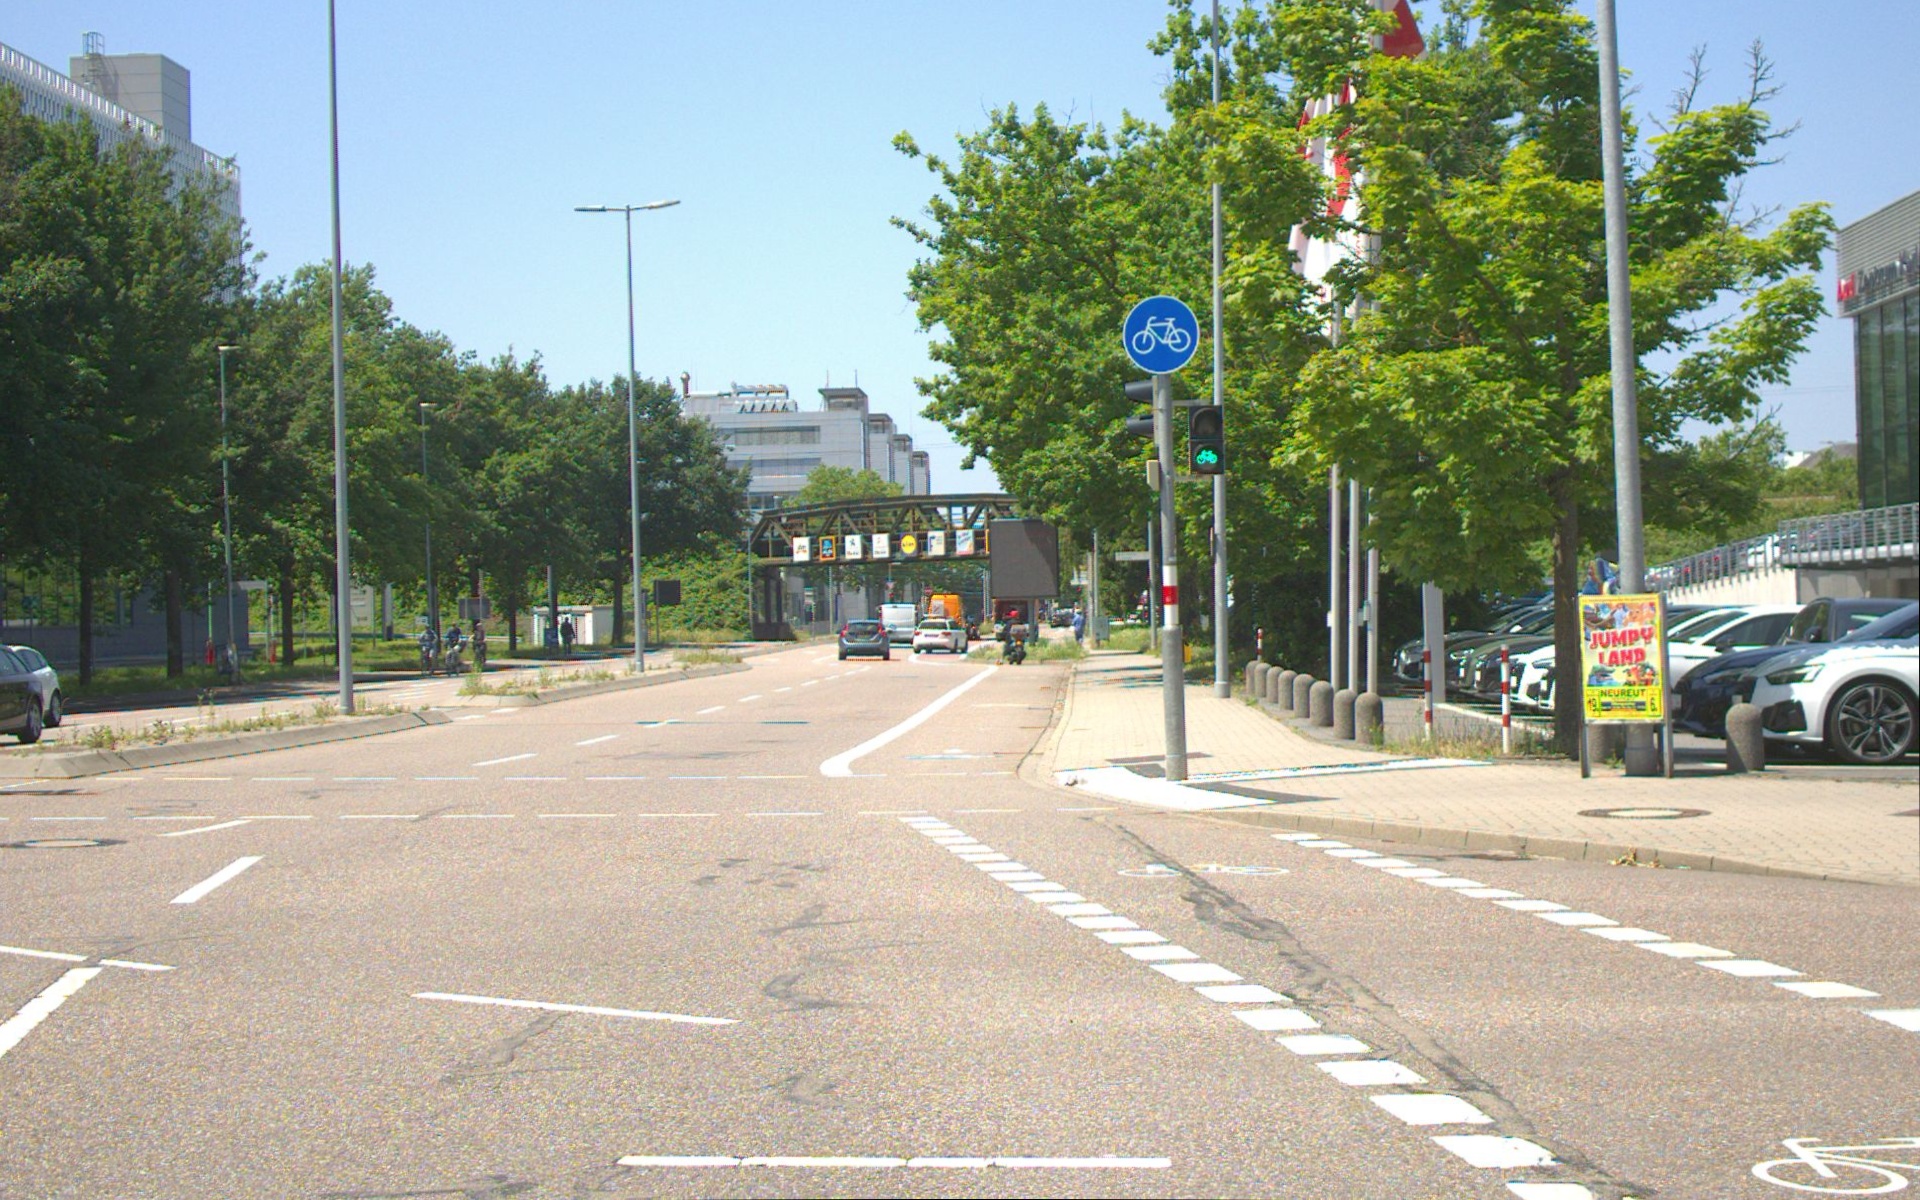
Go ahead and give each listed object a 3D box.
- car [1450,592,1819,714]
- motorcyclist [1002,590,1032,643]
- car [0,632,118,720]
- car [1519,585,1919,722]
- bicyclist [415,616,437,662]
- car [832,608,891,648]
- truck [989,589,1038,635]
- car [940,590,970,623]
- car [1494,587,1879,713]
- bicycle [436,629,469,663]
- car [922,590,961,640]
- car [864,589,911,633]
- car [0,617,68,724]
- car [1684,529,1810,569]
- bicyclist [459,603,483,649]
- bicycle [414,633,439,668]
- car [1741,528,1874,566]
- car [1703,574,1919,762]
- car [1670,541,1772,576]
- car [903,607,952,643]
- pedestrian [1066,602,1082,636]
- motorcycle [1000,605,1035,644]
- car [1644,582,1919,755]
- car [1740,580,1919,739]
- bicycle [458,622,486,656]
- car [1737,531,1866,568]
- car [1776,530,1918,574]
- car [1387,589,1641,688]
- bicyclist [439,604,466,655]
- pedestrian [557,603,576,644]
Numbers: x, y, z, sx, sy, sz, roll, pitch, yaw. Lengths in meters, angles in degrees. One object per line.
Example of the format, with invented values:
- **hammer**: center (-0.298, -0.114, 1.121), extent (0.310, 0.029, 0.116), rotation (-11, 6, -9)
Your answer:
- **car**: center (8.311, 0.638, 42.621), extent (4.226, 1.385, 1.869), rotation (1, 0, 2)
- **motorcyclist**: center (1.652, 0.479, 99.633), extent (0.719, 1.524, 0.871), rotation (0, 0, -8)
- **car**: center (-16.401, 1.341, 60.747), extent (1.726, 1.441, 4.451), rotation (-3, -1, 2)
- **car**: center (8.228, 0.565, 37.159), extent (4.096, 1.360, 1.874), rotation (1, 0, 2)
- **bicyclist**: center (-18.231, 1.329, 117.397), extent (0.637, 1.577, 0.884), rotation (-1, 0, -4)
- **car**: center (-3.554, 0.995, 124.427), extent (1.900, 1.371, 4.231), rotation (-1, 0, 1)
- **truck**: center (2.865, 0.620, 183.745), extent (2.459, 2.402, 7.133), rotation (1, 0, 2)
- **car**: center (-0.309, 0.422, 217.480), extent (1.751, 2.007, 3.871), rotation (-1, 0, 1)
- **car**: center (8.405, 0.565, 40.017), extent (4.099, 1.344, 1.869), rotation (1, 0, 2)
- **bicycle**: center (-17.135, 1.544, 116.148), extent (0.739, 1.121, 2.434), rotation (-1, 0, 0)
- **car**: center (-1.077, 0.881, 204.927), extent (2.073, 2.845, 6.764), rotation (-1, 0, 1)
- **car**: center (-3.285, 0.495, 157.146), extent (1.993, 2.007, 4.000), rotation (0, 0, 1)
- **car**: center (-13.688, 0.990, 46.296), extent (1.727, 1.441, 4.719), rotation (-3, -1, 5)
- **car**: center (27.738, -1.783, 121.192), extent (3.986, 1.307, 1.797), rotation (1, 0, -2)
- **bicyclist**: center (-17.731, 0.931, 124.680), extent (0.634, 1.623, 1.044), rotation (-3, 0, 1)
- **bicycle**: center (-18.224, 1.720, 117.495), extent (0.637, 1.130, 1.971), rotation (-1, 0, -4)
- **car**: center (28.075, -1.745, 113.910), extent (3.939, 1.207, 1.717), rotation (0, 0, -2)
- **car**: center (8.224, 0.547, 26.660), extent (4.593, 1.385, 1.868), rotation (1, 0, 5)
- **car**: center (28.796, -1.570, 130.144), extent (3.523, 1.235, 1.610), rotation (1, 0, 0)
- **car**: center (-1.330, 1.030, 143.121), extent (1.924, 1.415, 4.000), rotation (0, 0, 1)
- **pedestrian**: center (4.661, 0.762, 140.322), extent (0.623, 1.370, 0.564), rotation (-1, 0, 1)
- **motorcycle**: center (1.660, 0.705, 99.612), extent (0.716, 1.101, 1.830), rotation (0, 0, -8)
- **car**: center (8.054, 0.586, 29.276), extent (4.096, 1.385, 1.869), rotation (1, 0, 2)
- **car**: center (8.899, 0.548, 33.388), extent (1.863, 1.415, 4.662), rotation (1, 0, 4)
- **bicycle**: center (-17.705, 1.416, 124.739), extent (0.629, 1.155, 2.117), rotation (-3, 0, 1)
- **car**: center (27.141, -1.627, 110.965), extent (3.724, 1.127, 1.684), rotation (1, 0, -2)
- **car**: center (27.997, -1.497, 108.553), extent (3.986, 1.307, 1.797), rotation (1, 0, -2)
- **car**: center (8.583, 0.587, 53.514), extent (3.682, 1.448, 1.834), rotation (1, 0, 2)
- **bicyclist**: center (-17.144, 0.990, 116.157), extent (0.745, 1.680, 0.952), rotation (-1, 0, 0)
- **pedestrian**: center (-18.552, 1.102, 162.129), extent (0.744, 1.878, 0.577), rotation (-1, 0, 3)
